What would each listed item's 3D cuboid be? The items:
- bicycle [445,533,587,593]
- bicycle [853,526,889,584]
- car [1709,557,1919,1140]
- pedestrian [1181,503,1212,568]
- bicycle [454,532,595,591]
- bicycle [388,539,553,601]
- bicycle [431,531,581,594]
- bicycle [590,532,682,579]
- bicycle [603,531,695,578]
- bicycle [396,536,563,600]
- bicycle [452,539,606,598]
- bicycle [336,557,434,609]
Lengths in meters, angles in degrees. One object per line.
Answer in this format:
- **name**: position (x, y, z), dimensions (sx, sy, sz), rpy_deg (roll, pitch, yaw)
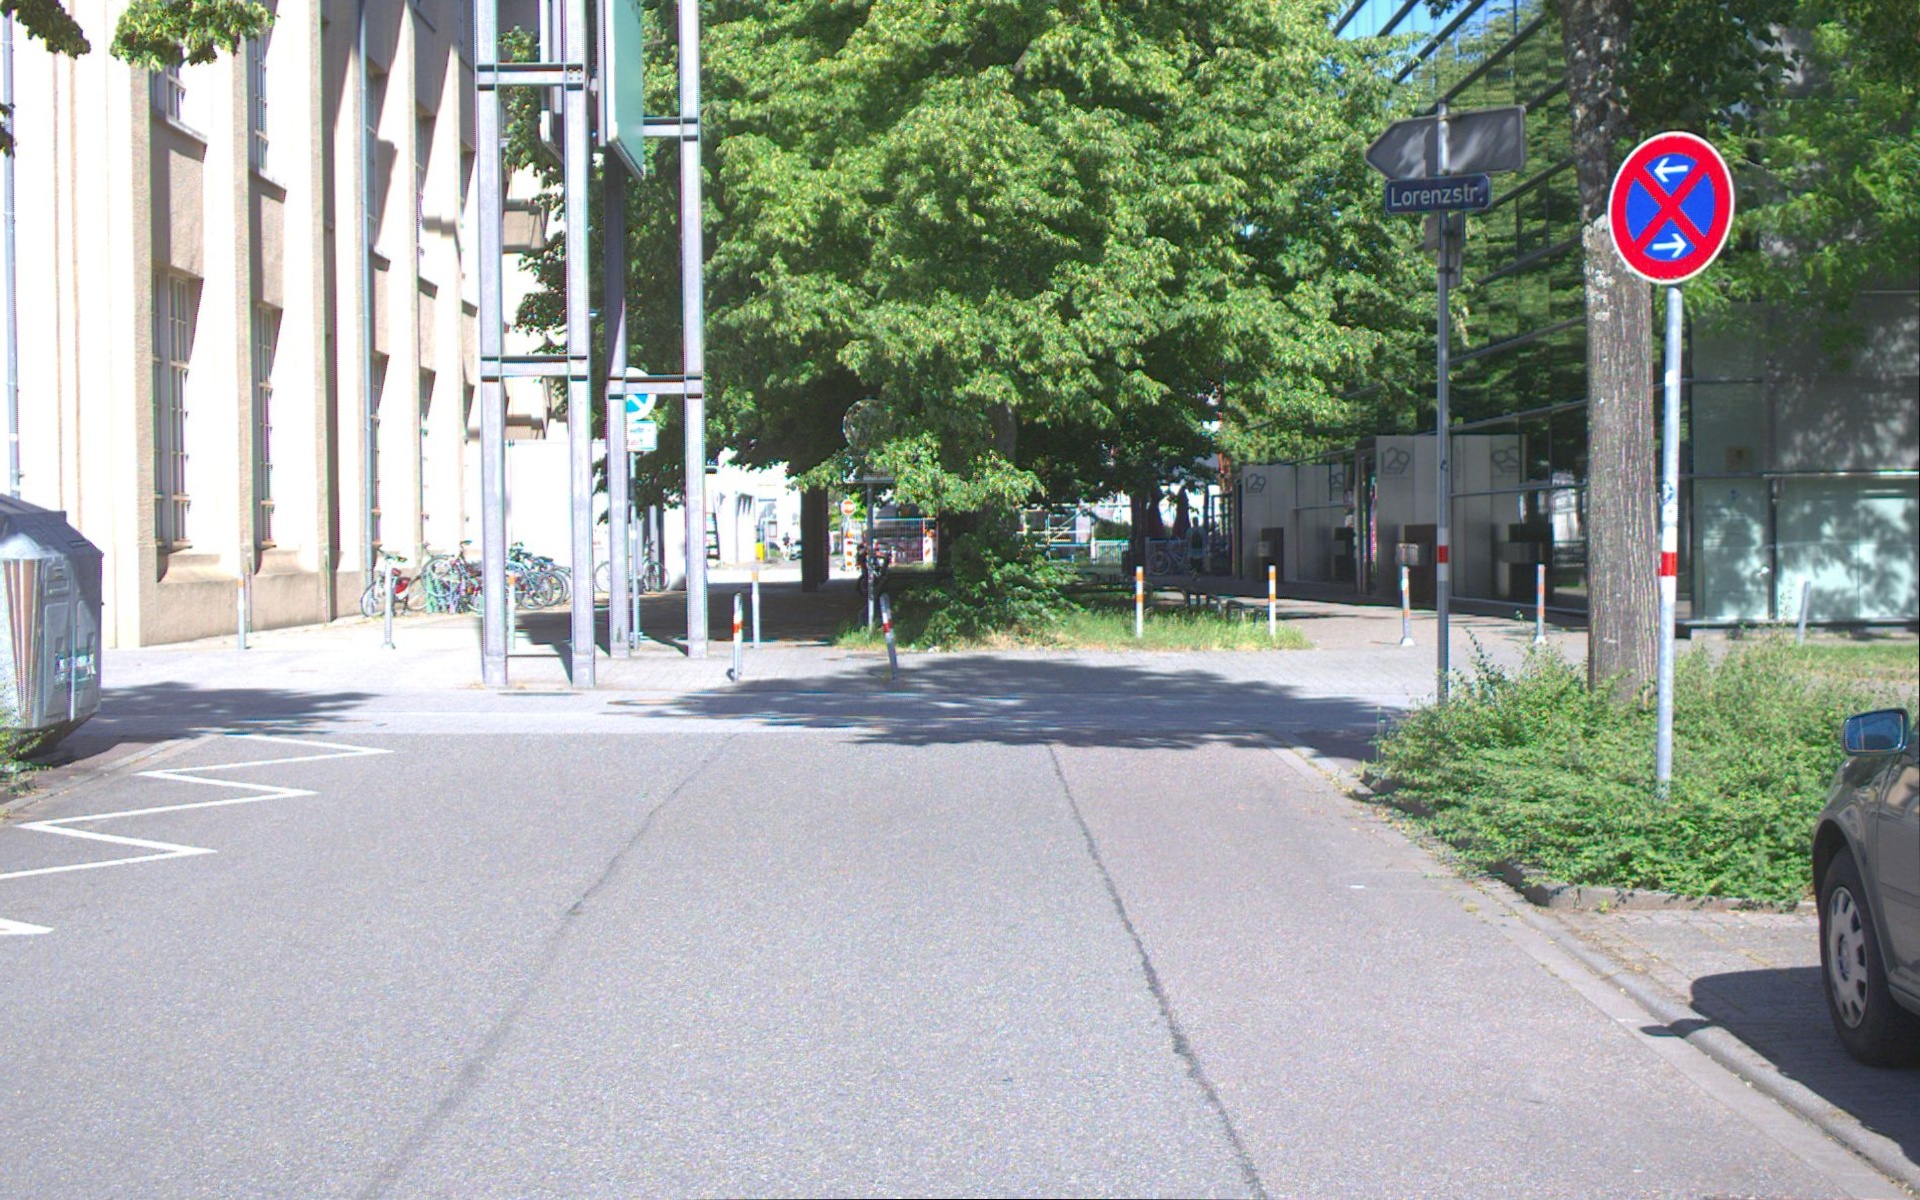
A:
- **bicycle**: position (-8.707, -0.726, 67.468), dimensions (2.731, 1.146, 0.719), rpy_deg (-1, 1, -5)
- **bicycle**: position (-1.900, -0.960, 73.178), dimensions (0.619, 1.193, 2.132), rpy_deg (-1, 2, -6)
- **car**: position (3.220, 0.593, 8.425), dimensions (1.746, 1.417, 4.424), rpy_deg (-3, 1, 0)
- **pedestrian**: position (5.712, -1.564, 83.028), dimensions (0.717, 1.545, 0.690), rpy_deg (0, 1, 6)
- **bicycle**: position (-8.631, -0.764, 68.257), dimensions (2.731, 1.146, 0.719), rpy_deg (-1, 1, -5)
- **bicycle**: position (-8.647, -0.530, 60.773), dimensions (2.800, 1.059, 0.719), rpy_deg (0, 1, 0)
- **bicycle**: position (-8.710, -0.719, 66.015), dimensions (2.800, 1.147, 0.719), rpy_deg (-1, 1, -5)
- **bicycle**: position (-7.427, -1.027, 78.834), dimensions (2.058, 1.062, 0.506), rpy_deg (0, 1, 2)
- **bicycle**: position (-7.195, -1.065, 79.525), dimensions (2.058, 1.062, 0.506), rpy_deg (0, 1, 2)
- **bicycle**: position (-8.255, -0.557, 59.180), dimensions (2.800, 1.059, 0.719), rpy_deg (-1, 1, -5)
- **bicycle**: position (-7.971, -0.593, 63.711), dimensions (2.800, 1.059, 0.719), rpy_deg (-1, 1, -5)
- **bicycle**: position (-9.400, -0.284, 56.344), dimensions (0.778, 0.789, 2.883), rpy_deg (0, 2, 7)
